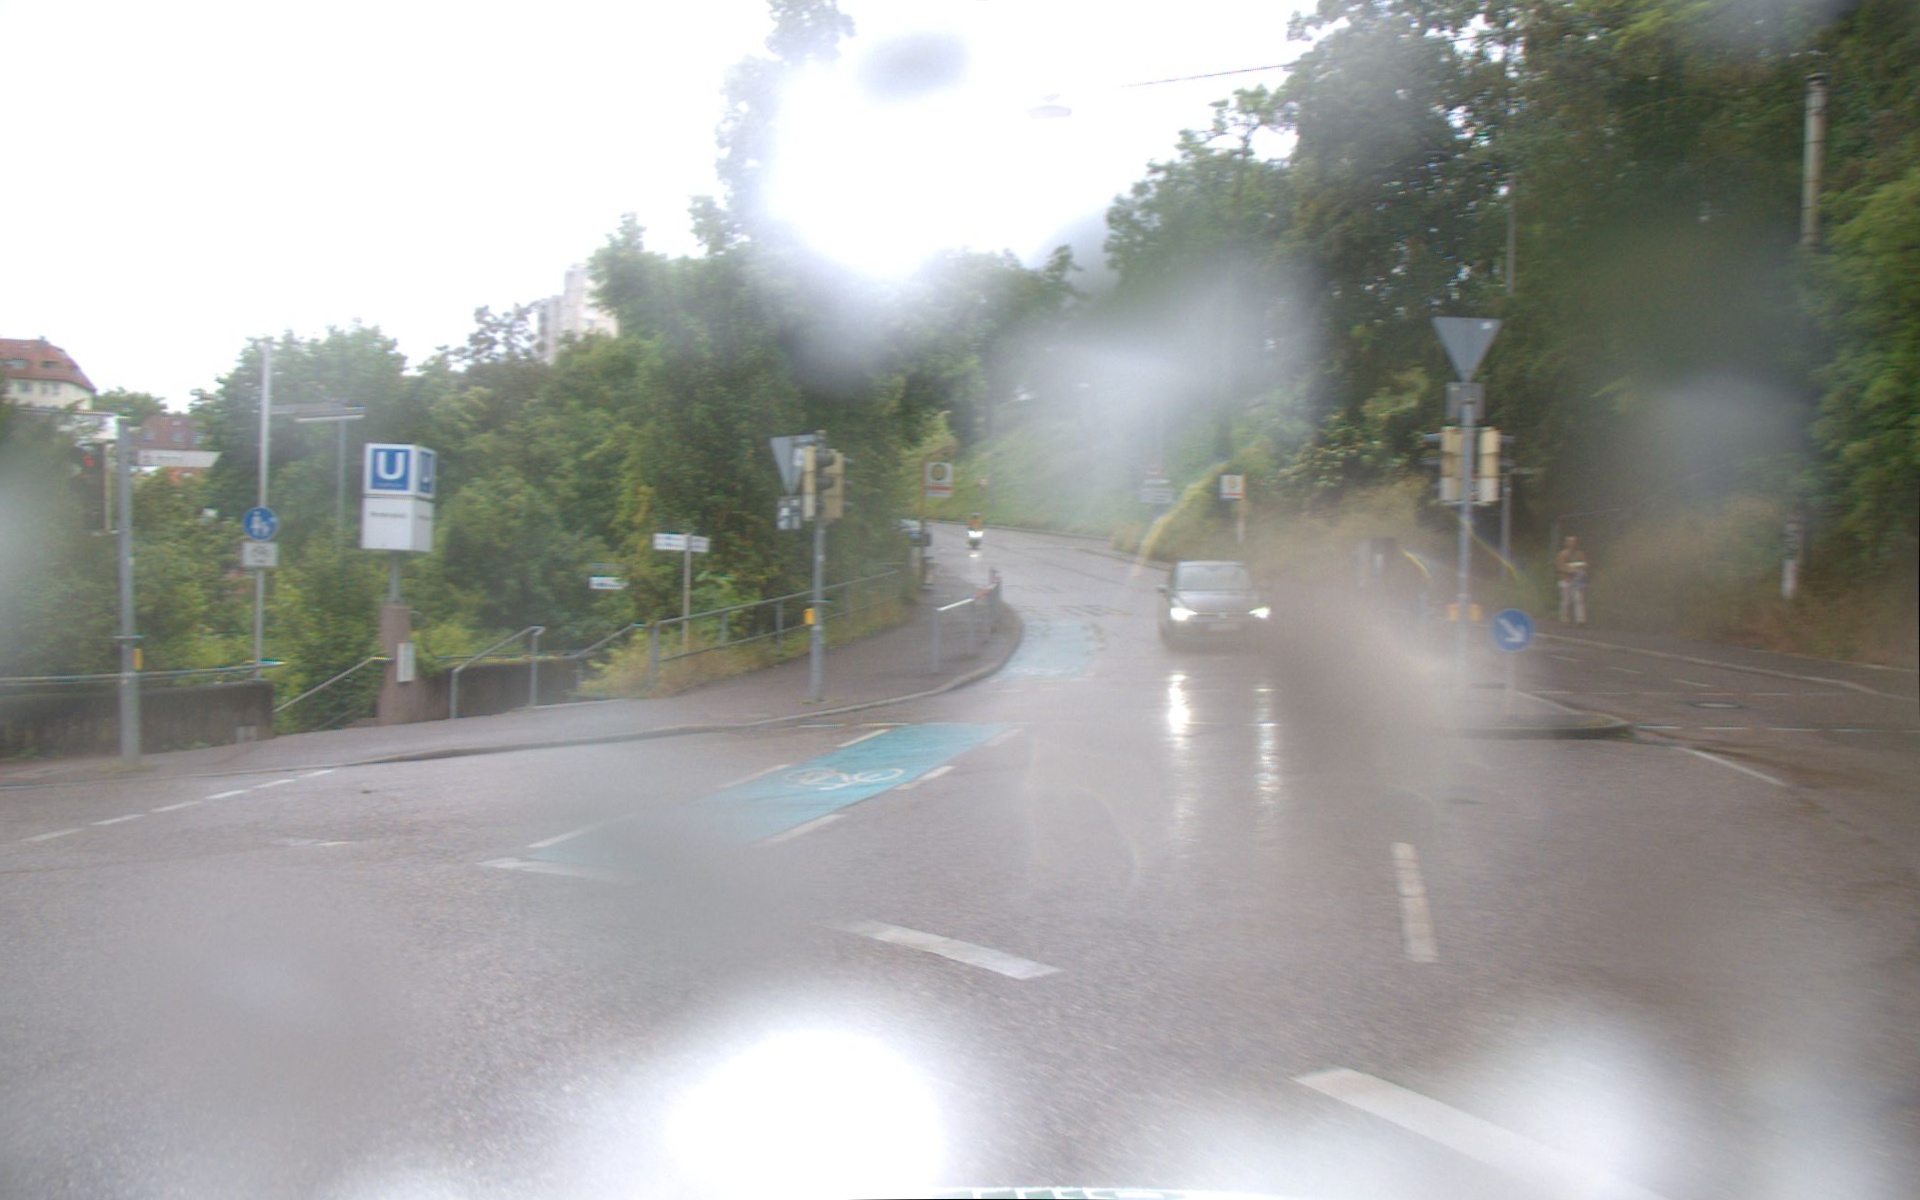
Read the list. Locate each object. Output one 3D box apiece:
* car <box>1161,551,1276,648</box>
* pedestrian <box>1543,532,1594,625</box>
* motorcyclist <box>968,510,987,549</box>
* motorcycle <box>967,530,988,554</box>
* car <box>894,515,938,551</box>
[{"bbox_3d":[4.542,-0.071,29.408,1.843,1.548,4.697,-1,2,8],"label":"car"},{"bbox_3d":[11.894,-0.426,32.365,0.634,1.783,0.799,1,2,-1],"label":"pedestrian"},{"bbox_3d":[0.851,-3.514,81.966,0.866,1.905,1.254,0,3,-2],"label":"motorcyclist"},{"bbox_3d":[0.851,-2.887,81.906,0.920,1.163,2.646,0,3,-2],"label":"motorcycle"},{"bbox_3d":[-2.343,-3.530,86.518,1.802,1.720,3.993,-1,4,-9],"label":"car"}]
